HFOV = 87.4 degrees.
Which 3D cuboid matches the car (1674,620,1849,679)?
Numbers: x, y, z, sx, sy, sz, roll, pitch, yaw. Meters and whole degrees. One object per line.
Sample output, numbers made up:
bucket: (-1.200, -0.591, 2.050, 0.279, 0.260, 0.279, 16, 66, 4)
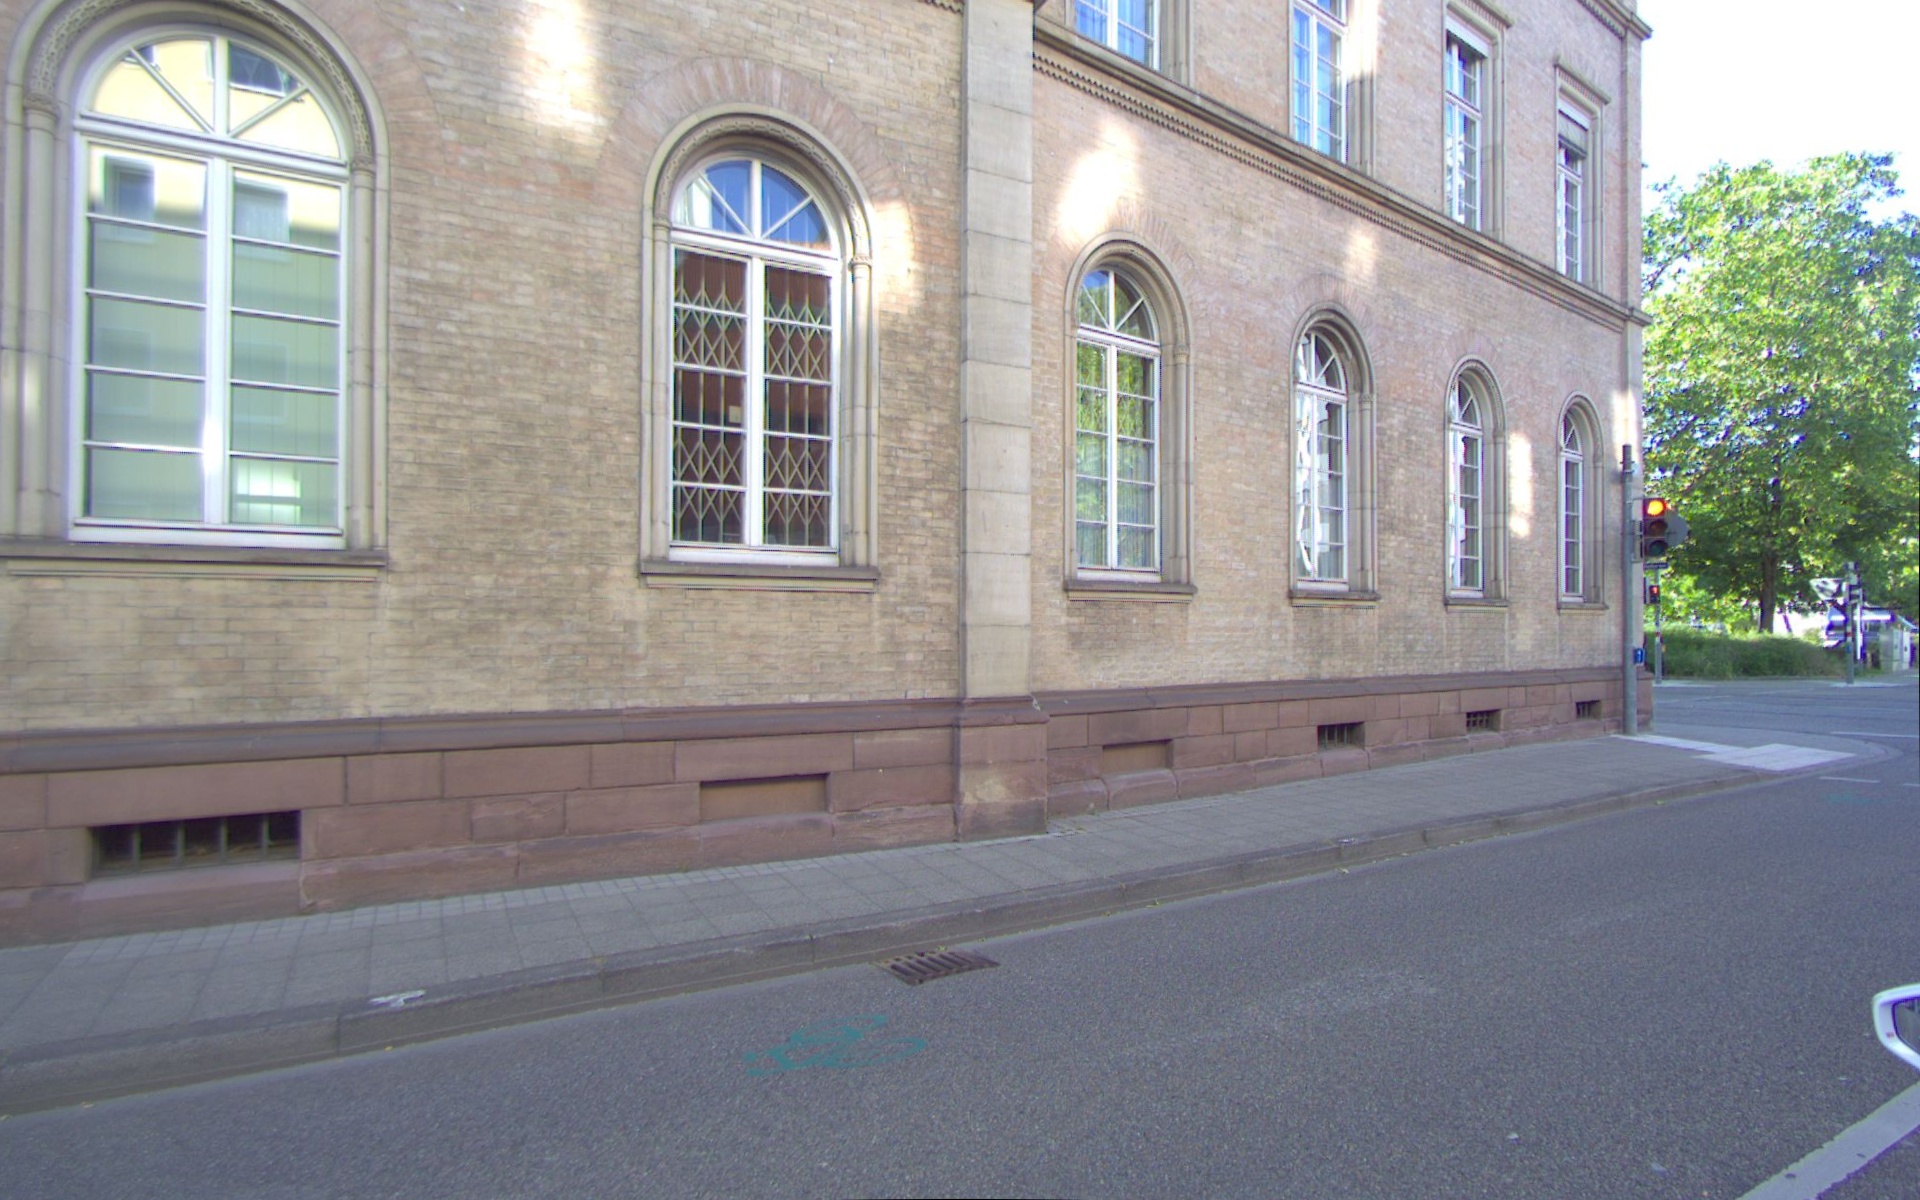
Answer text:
car: (26.312, 1.569, 33.104, 1.888, 1.801, 4.193, 1, -2, -37)
